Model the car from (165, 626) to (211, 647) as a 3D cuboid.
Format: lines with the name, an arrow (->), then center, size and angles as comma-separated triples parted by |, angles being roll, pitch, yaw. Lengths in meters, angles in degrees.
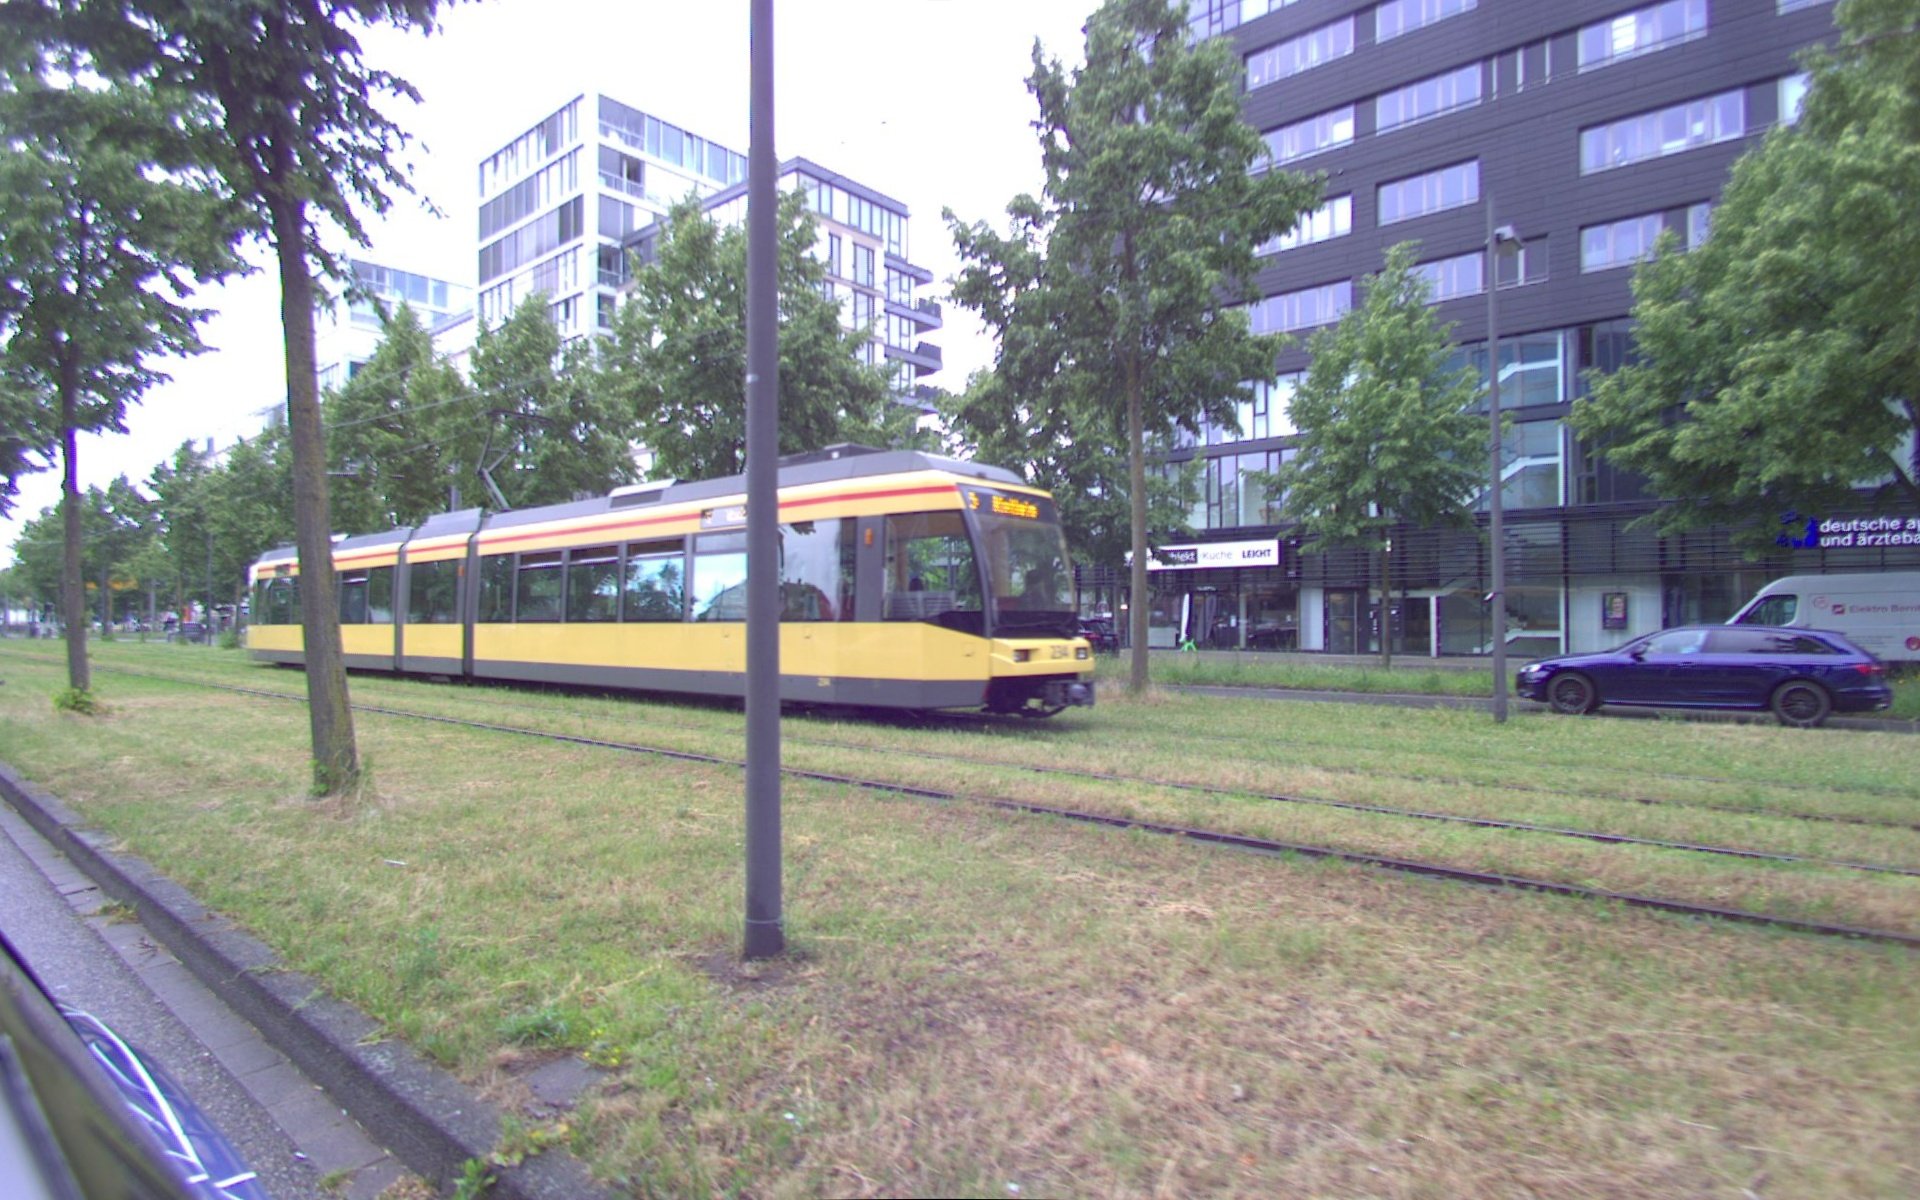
car -> -56.911, 2.674, 74.588 | 4.477, 1.536, 1.843 | -1, -2, 41

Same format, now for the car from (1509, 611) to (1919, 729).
car -> 11.349, 0.970, 15.505 | 4.868, 1.533, 1.973 | -1, -1, 40

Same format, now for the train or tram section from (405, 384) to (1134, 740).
train or tram section -> -4.491, -0.252, 16.607 | 15.055, 3.686, 3.096 | -1, -1, 41

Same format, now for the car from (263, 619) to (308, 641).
car -> -59.270, 2.620, 88.880 | 5.160, 1.866, 1.973 | -1, -1, 40

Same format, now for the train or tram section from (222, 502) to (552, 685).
train or tram section -> -15.247, -0.009, 25.994 | 13.399, 3.686, 3.096 | -1, -1, 41

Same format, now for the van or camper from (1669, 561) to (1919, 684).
van or camper -> 18.322, 0.455, 20.847 | 5.847, 2.333, 2.408 | -1, -1, 41

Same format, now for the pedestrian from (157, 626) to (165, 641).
pedestrian -> -94.095, 3.939, 119.188 | 0.793, 1.704, 0.703 | -2, -1, 44

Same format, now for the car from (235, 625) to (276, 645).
car -> -65.732, 3.248, 94.365 | 4.461, 1.725, 2.122 | -1, -1, 41

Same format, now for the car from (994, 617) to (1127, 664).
car -> 3.310, 1.309, 33.741 | 4.239, 1.460, 1.684 | -1, -1, 41
